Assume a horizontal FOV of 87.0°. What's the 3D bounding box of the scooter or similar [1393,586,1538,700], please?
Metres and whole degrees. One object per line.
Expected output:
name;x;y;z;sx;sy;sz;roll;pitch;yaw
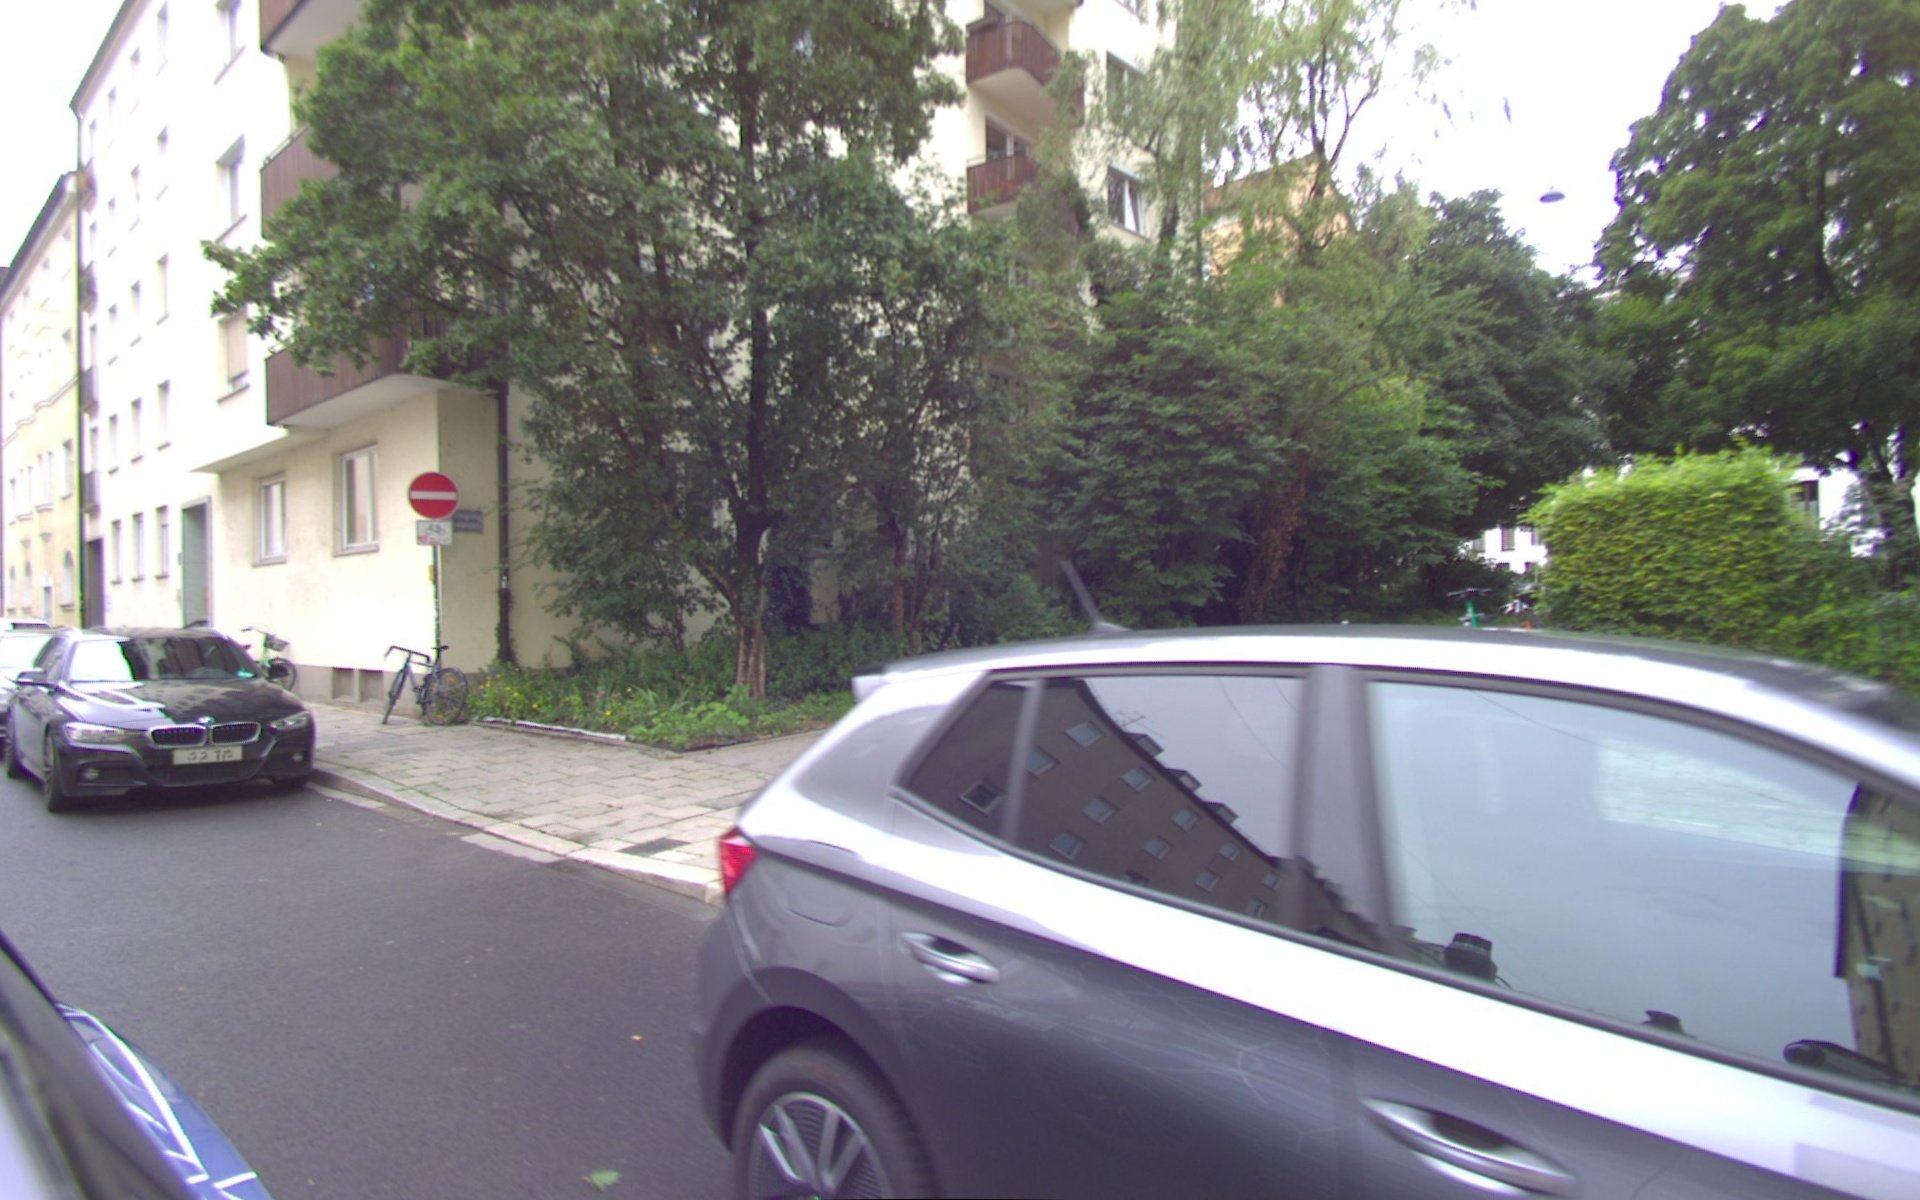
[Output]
scooter or similar;5.886;0.494;11.860;0.339;1.253;1.550;0;-2;-31

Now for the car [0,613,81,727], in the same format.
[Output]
car;-15.869;1.065;16.450;4.364;1.688;1.748;-1;-1;40

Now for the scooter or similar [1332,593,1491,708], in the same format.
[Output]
scooter or similar;5.028;0.555;11.332;1.569;1.212;0.318;-2;-2;40

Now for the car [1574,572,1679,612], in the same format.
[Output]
car;31.464;-0.349;47.824;1.747;1.719;3.813;-1;-1;-44

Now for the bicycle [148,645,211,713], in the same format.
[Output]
bicycle;-14.444;1.429;18.708;1.788;1.170;0.575;-1;-2;42

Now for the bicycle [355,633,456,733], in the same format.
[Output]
bicycle;-7.026;1.010;12.784;1.788;1.170;0.529;-1;-2;42

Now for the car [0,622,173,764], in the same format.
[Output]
car;-11.458;1.033;12.721;4.423;1.494;1.747;-1;-1;42

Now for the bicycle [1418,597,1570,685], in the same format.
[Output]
bicycle;6.730;0.515;12.802;1.607;1.047;0.509;-2;-2;40

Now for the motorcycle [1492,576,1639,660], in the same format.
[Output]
motorcycle;9.258;0.294;15.529;1.819;1.207;0.536;-4;-2;42

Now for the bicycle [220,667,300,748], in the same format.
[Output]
bicycle;-11.387;1.711;16.435;1.788;1.170;0.638;-1;-2;42

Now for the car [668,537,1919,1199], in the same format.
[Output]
car;1.385;0.685;1.506;3.941;1.453;1.675;-2;-2;42

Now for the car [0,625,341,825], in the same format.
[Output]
car;-7.498;0.949;9.360;4.381;1.419;1.836;-2;-2;42

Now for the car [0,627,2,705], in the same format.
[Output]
car;-19.989;1.253;19.675;3.801;1.446;1.635;-1;-1;41

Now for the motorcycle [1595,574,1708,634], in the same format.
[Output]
motorcycle;14.498;0.103;21.268;1.807;1.155;0.539;-3;-2;23

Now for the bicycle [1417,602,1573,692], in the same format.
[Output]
bicycle;6.516;0.566;12.379;1.607;1.047;0.419;-2;-2;40
